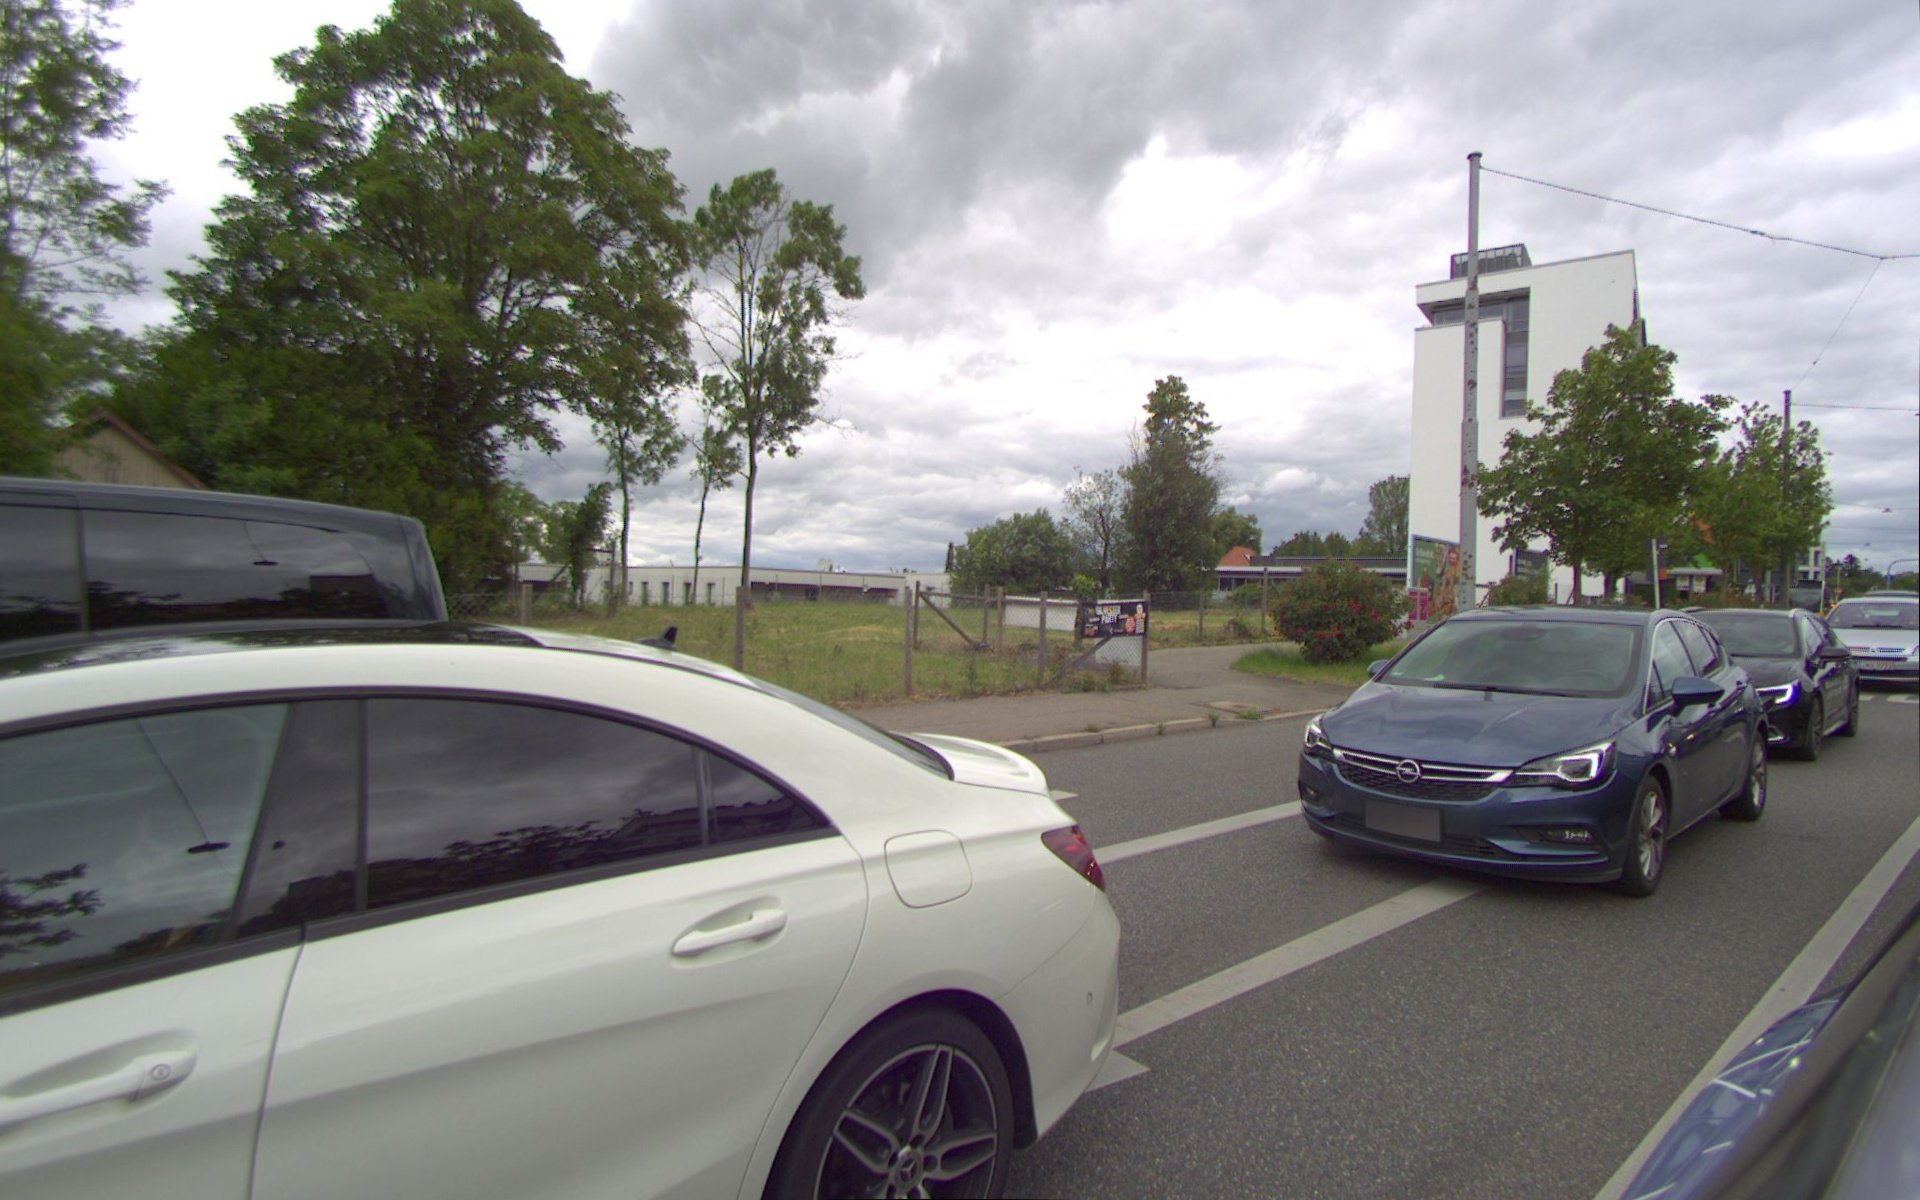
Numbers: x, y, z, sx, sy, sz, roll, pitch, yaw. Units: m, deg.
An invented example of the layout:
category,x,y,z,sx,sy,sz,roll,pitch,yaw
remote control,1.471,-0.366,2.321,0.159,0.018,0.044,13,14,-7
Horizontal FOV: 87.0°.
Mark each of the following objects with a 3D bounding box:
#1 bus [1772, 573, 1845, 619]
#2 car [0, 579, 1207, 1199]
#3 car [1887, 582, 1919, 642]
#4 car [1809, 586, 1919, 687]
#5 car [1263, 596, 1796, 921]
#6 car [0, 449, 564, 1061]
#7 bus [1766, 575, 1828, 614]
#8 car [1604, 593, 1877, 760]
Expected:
category,x,y,z,sx,sy,sz,roll,pitch,yaw
bus,53.954,-0.299,64.581,2.952,2.664,11.986,0,1,37
car,-1.535,0.700,1.819,4.300,1.451,1.652,0,1,-41
car,32.116,0.392,33.578,1.847,1.910,4.070,-1,-1,44
car,16.753,0.593,18.097,3.717,1.637,1.849,0,-1,-41
car,3.812,0.696,6.486,3.931,1.428,1.825,0,0,-42
car,-4.015,0.477,3.427,4.627,1.863,1.952,0,-1,-41
bus,61.421,-0.432,74.481,2.952,2.664,12.751,0,1,37
car,8.465,0.669,10.862,3.854,1.475,1.663,0,0,-42
